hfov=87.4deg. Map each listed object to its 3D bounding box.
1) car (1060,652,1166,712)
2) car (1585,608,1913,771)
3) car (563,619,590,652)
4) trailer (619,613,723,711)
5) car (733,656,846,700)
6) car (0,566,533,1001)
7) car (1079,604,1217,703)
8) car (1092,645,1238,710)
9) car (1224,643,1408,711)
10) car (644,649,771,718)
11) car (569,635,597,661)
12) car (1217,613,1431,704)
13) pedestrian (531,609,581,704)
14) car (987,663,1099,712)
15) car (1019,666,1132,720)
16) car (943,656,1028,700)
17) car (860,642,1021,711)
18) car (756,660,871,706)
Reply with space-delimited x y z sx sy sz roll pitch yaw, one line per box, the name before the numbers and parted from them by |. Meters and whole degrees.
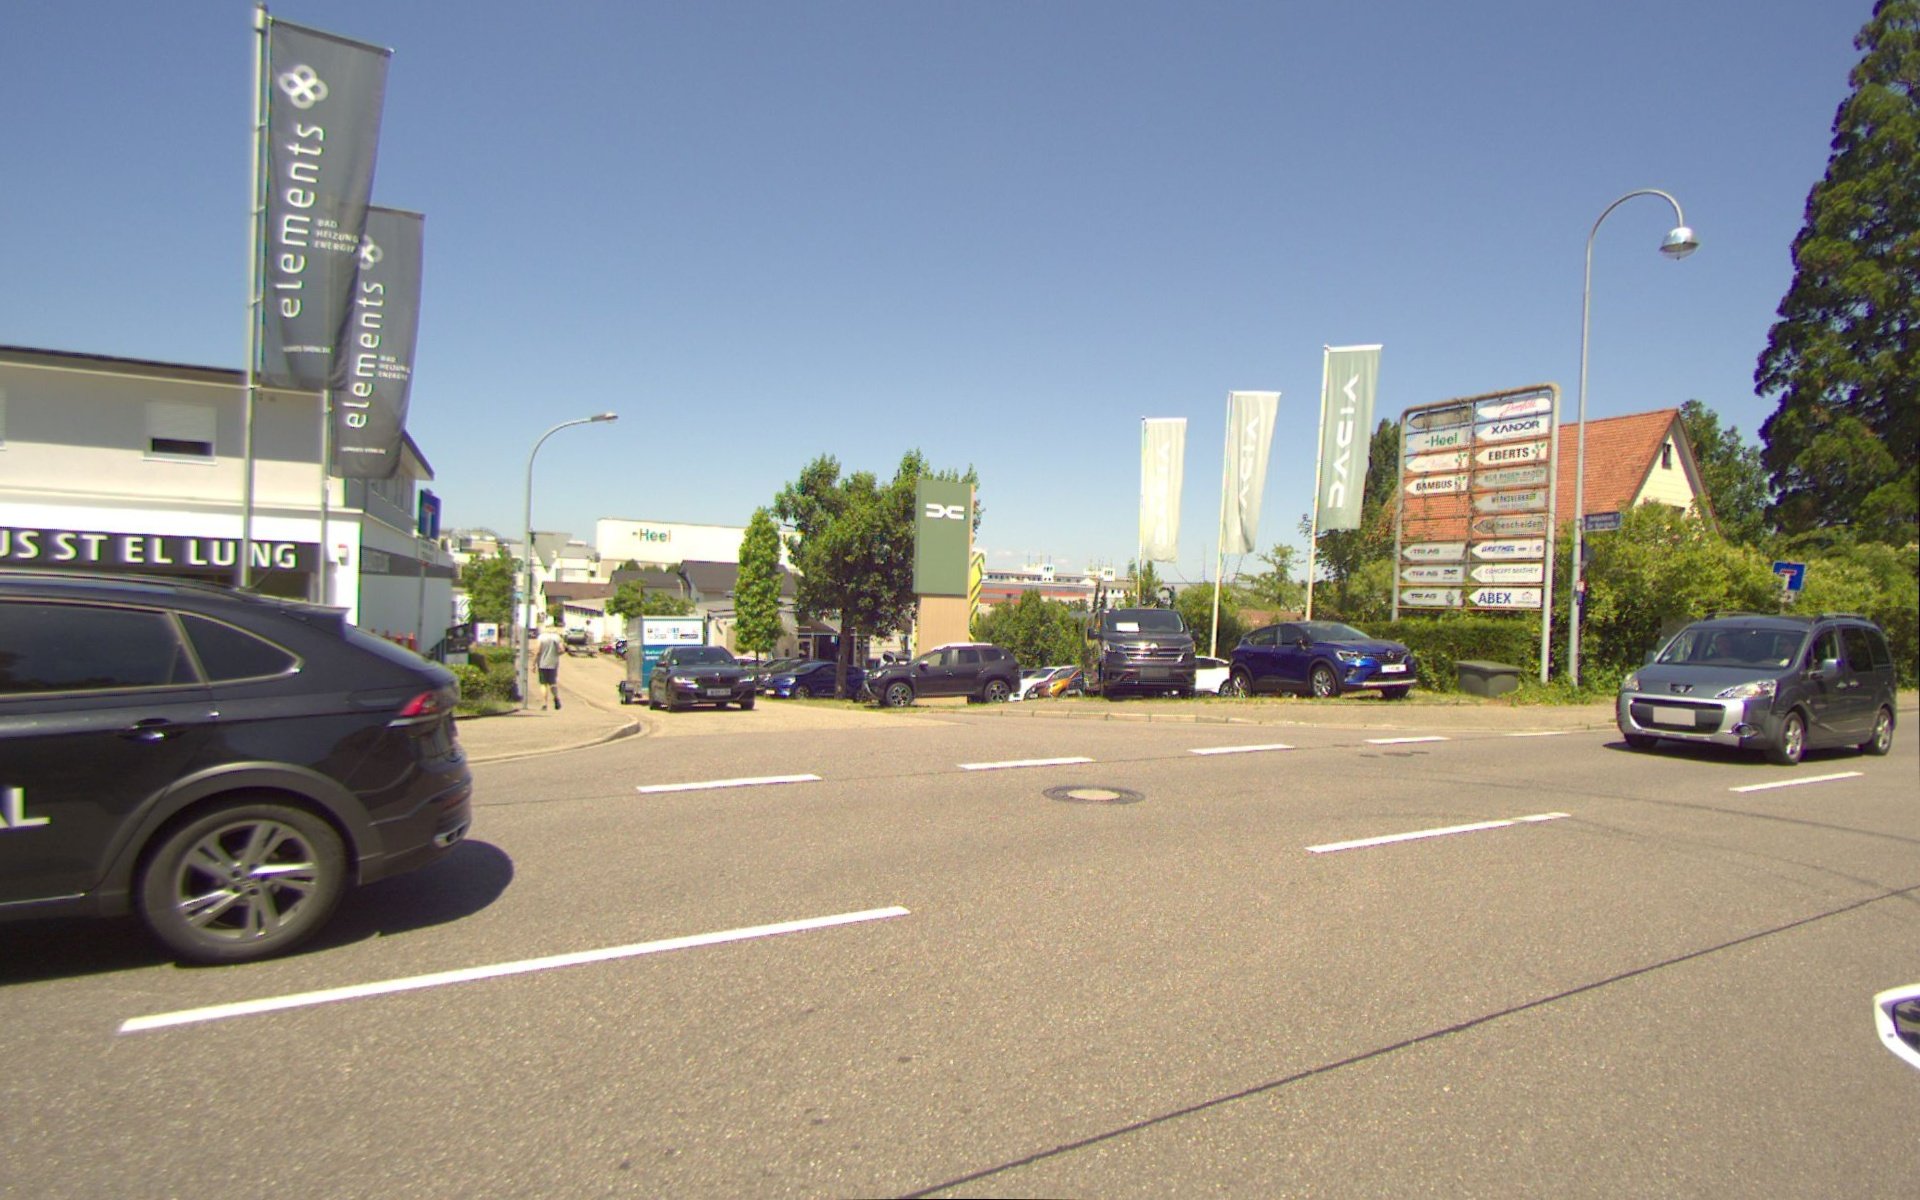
car | 5.263 2.732 34.257 1.786 1.744 4.072 2 0 38
car | 10.222 1.054 12.935 4.516 1.785 1.802 2 -1 -30
car | -37.803 3.456 99.017 2.212 3.030 6.310 2 -1 -23
trailer | -8.122 1.706 27.867 1.915 2.436 5.335 2 -3 -25
car | -6.550 2.950 38.744 3.970 1.506 1.736 2 -1 -42
car | -4.086 0.636 4.170 4.008 1.526 1.859 2 -1 -32
car | 3.777 1.040 21.007 2.022 1.750 4.458 -3 -1 1
car | 6.128 2.276 29.965 4.039 1.744 1.801 2 0 -29
car | 8.706 1.868 24.853 4.012 1.411 1.679 2 0 9
car | -5.947 1.863 23.208 1.892 1.405 4.940 2 -4 -25
car | -33.214 4.209 88.412 2.054 2.083 3.978 2 -1 -23
car | 6.975 1.066 19.738 1.750 1.524 4.131 2 0 -18
pedestrian | -7.765 1.078 19.334 0.688 1.785 0.545 1 -1 -2
car | 3.255 3.396 39.454 4.039 1.744 1.801 2 0 -29
car | 4.303 3.380 37.124 4.053 1.744 1.795 2 0 -38
car | 1.227 3.518 45.996 1.786 1.744 4.072 2 0 38
car | -0.543 2.066 26.998 4.020 1.744 1.810 2 -4 -14
car | -5.232 2.946 36.137 3.839 1.434 1.633 2 -1 -42
